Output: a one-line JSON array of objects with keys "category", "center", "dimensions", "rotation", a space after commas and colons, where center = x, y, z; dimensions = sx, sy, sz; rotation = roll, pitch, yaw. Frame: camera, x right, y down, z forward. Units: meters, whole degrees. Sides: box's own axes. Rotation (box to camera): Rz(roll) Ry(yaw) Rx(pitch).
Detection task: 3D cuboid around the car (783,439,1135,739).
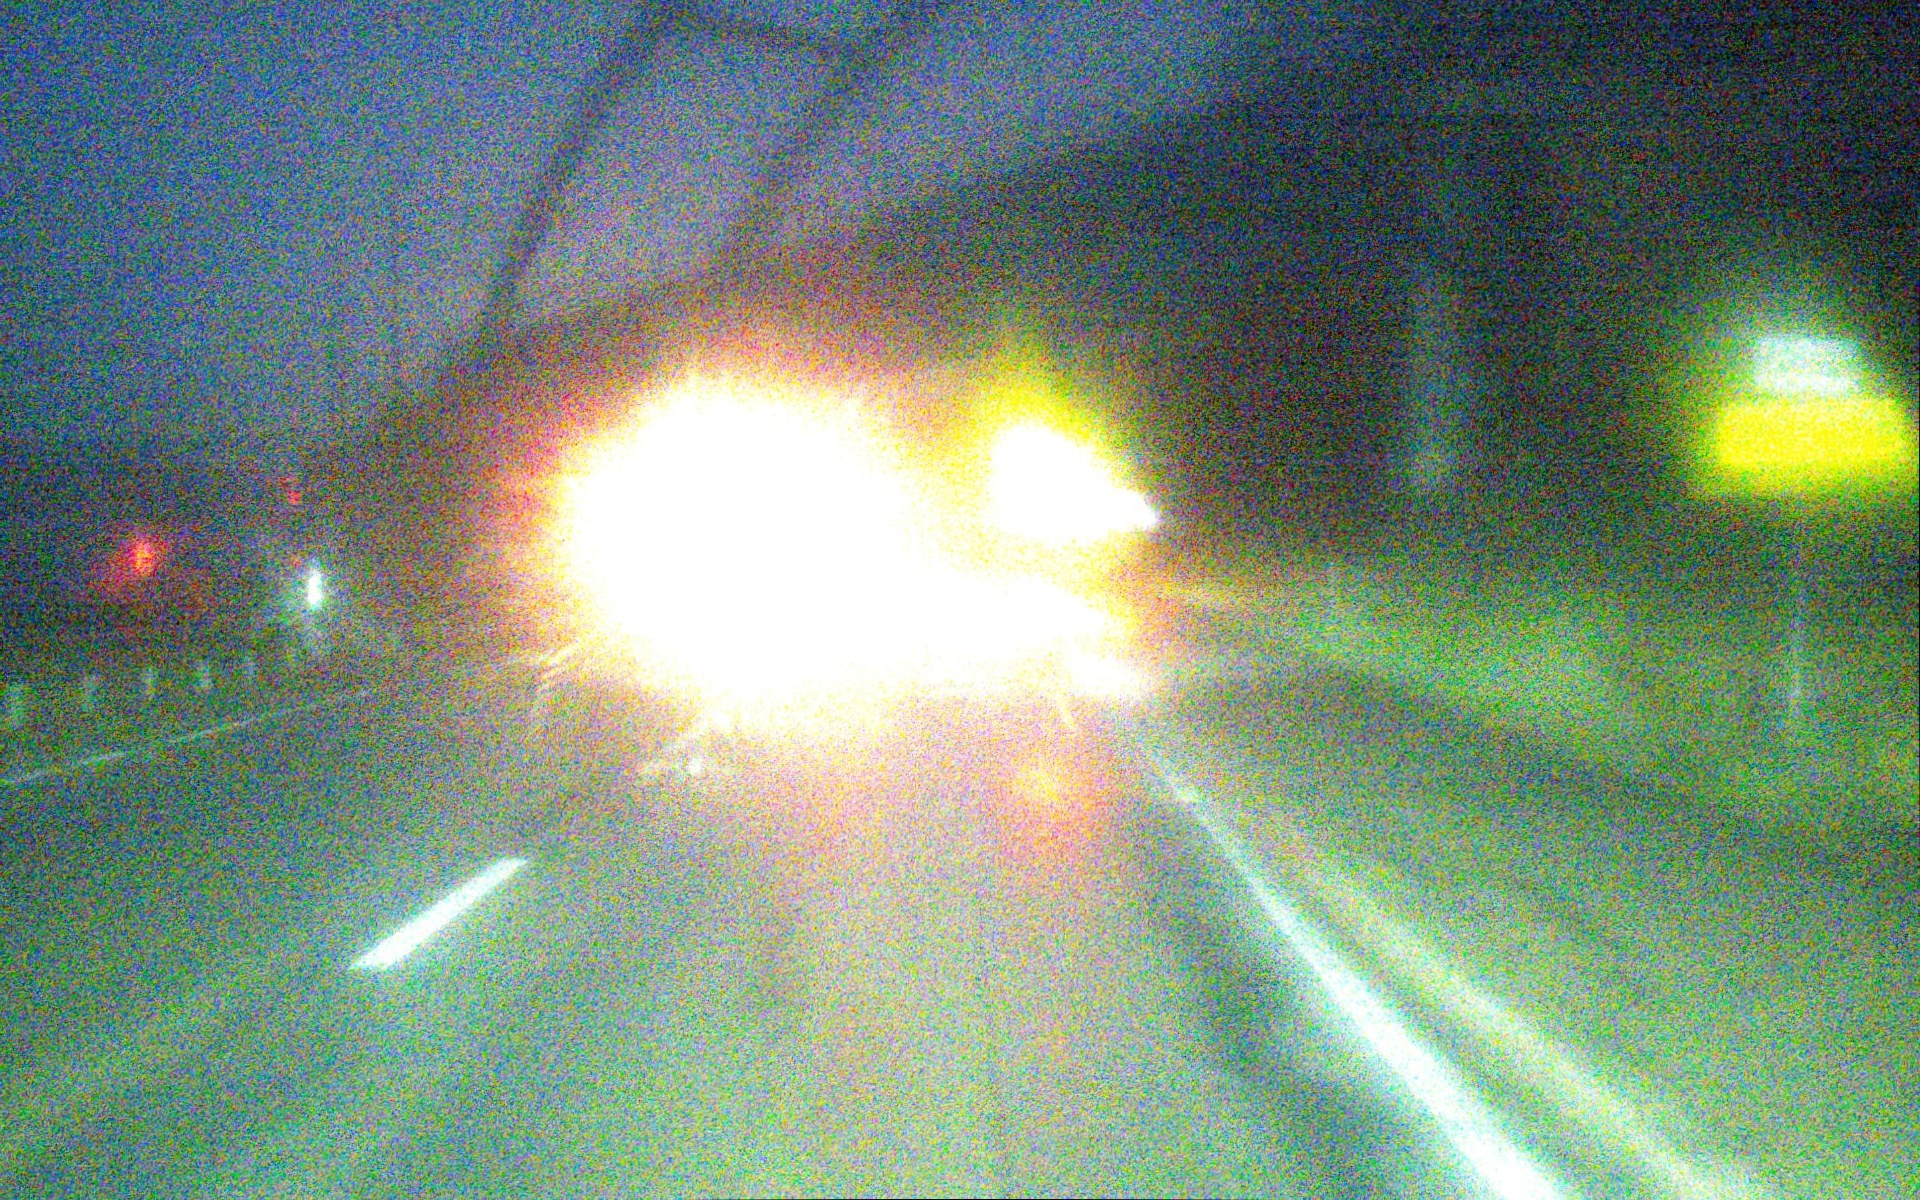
[{"category": "car", "center": [-0.047, -0.150, 29.702], "dimensions": [2.715, 2.299, 6.101], "rotation": [0, 1, -1]}]
